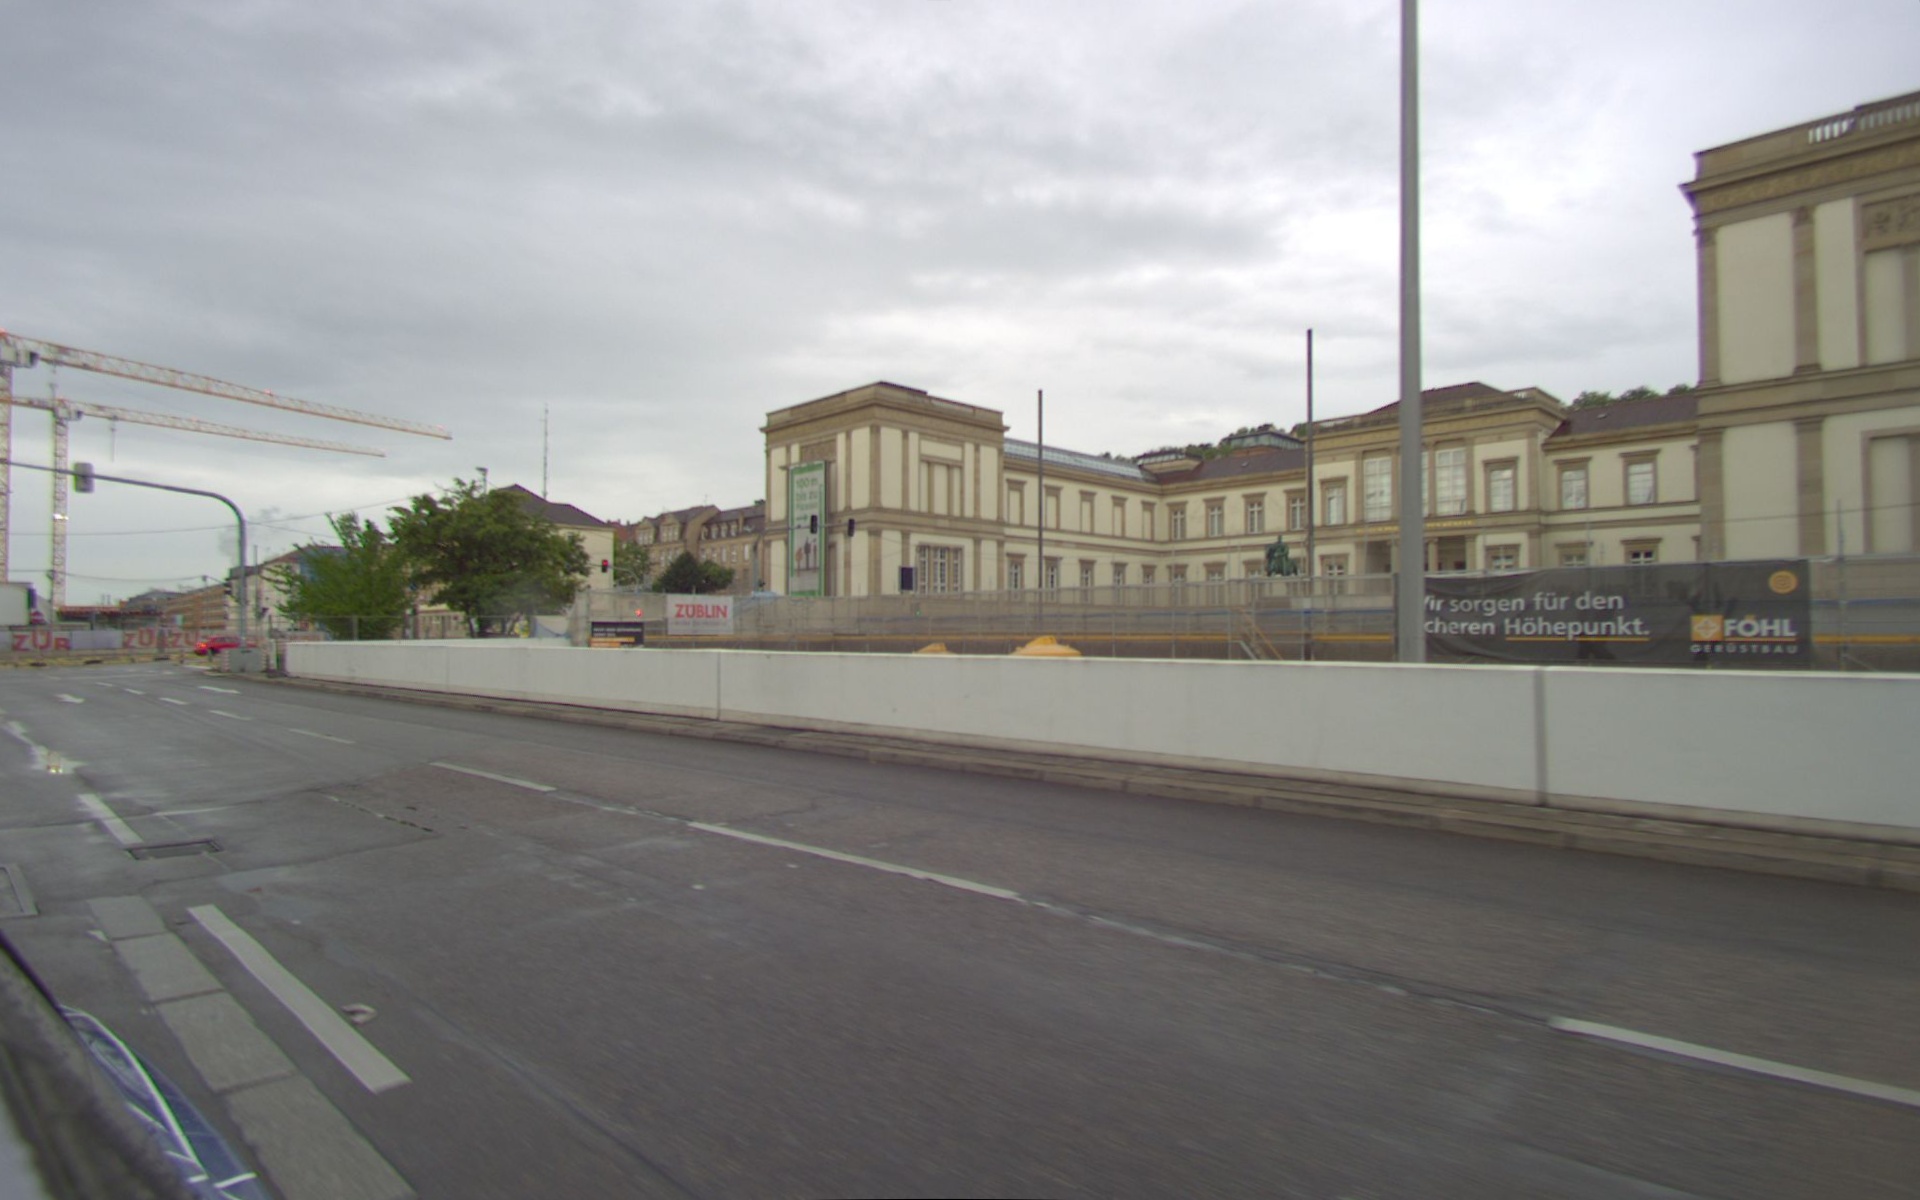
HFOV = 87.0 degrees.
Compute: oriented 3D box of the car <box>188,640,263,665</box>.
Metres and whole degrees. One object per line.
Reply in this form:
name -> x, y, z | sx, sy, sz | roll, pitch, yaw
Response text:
car -> -51.833, 3.670, 71.517 | 1.687, 1.564, 3.953 | -2, 0, 34
